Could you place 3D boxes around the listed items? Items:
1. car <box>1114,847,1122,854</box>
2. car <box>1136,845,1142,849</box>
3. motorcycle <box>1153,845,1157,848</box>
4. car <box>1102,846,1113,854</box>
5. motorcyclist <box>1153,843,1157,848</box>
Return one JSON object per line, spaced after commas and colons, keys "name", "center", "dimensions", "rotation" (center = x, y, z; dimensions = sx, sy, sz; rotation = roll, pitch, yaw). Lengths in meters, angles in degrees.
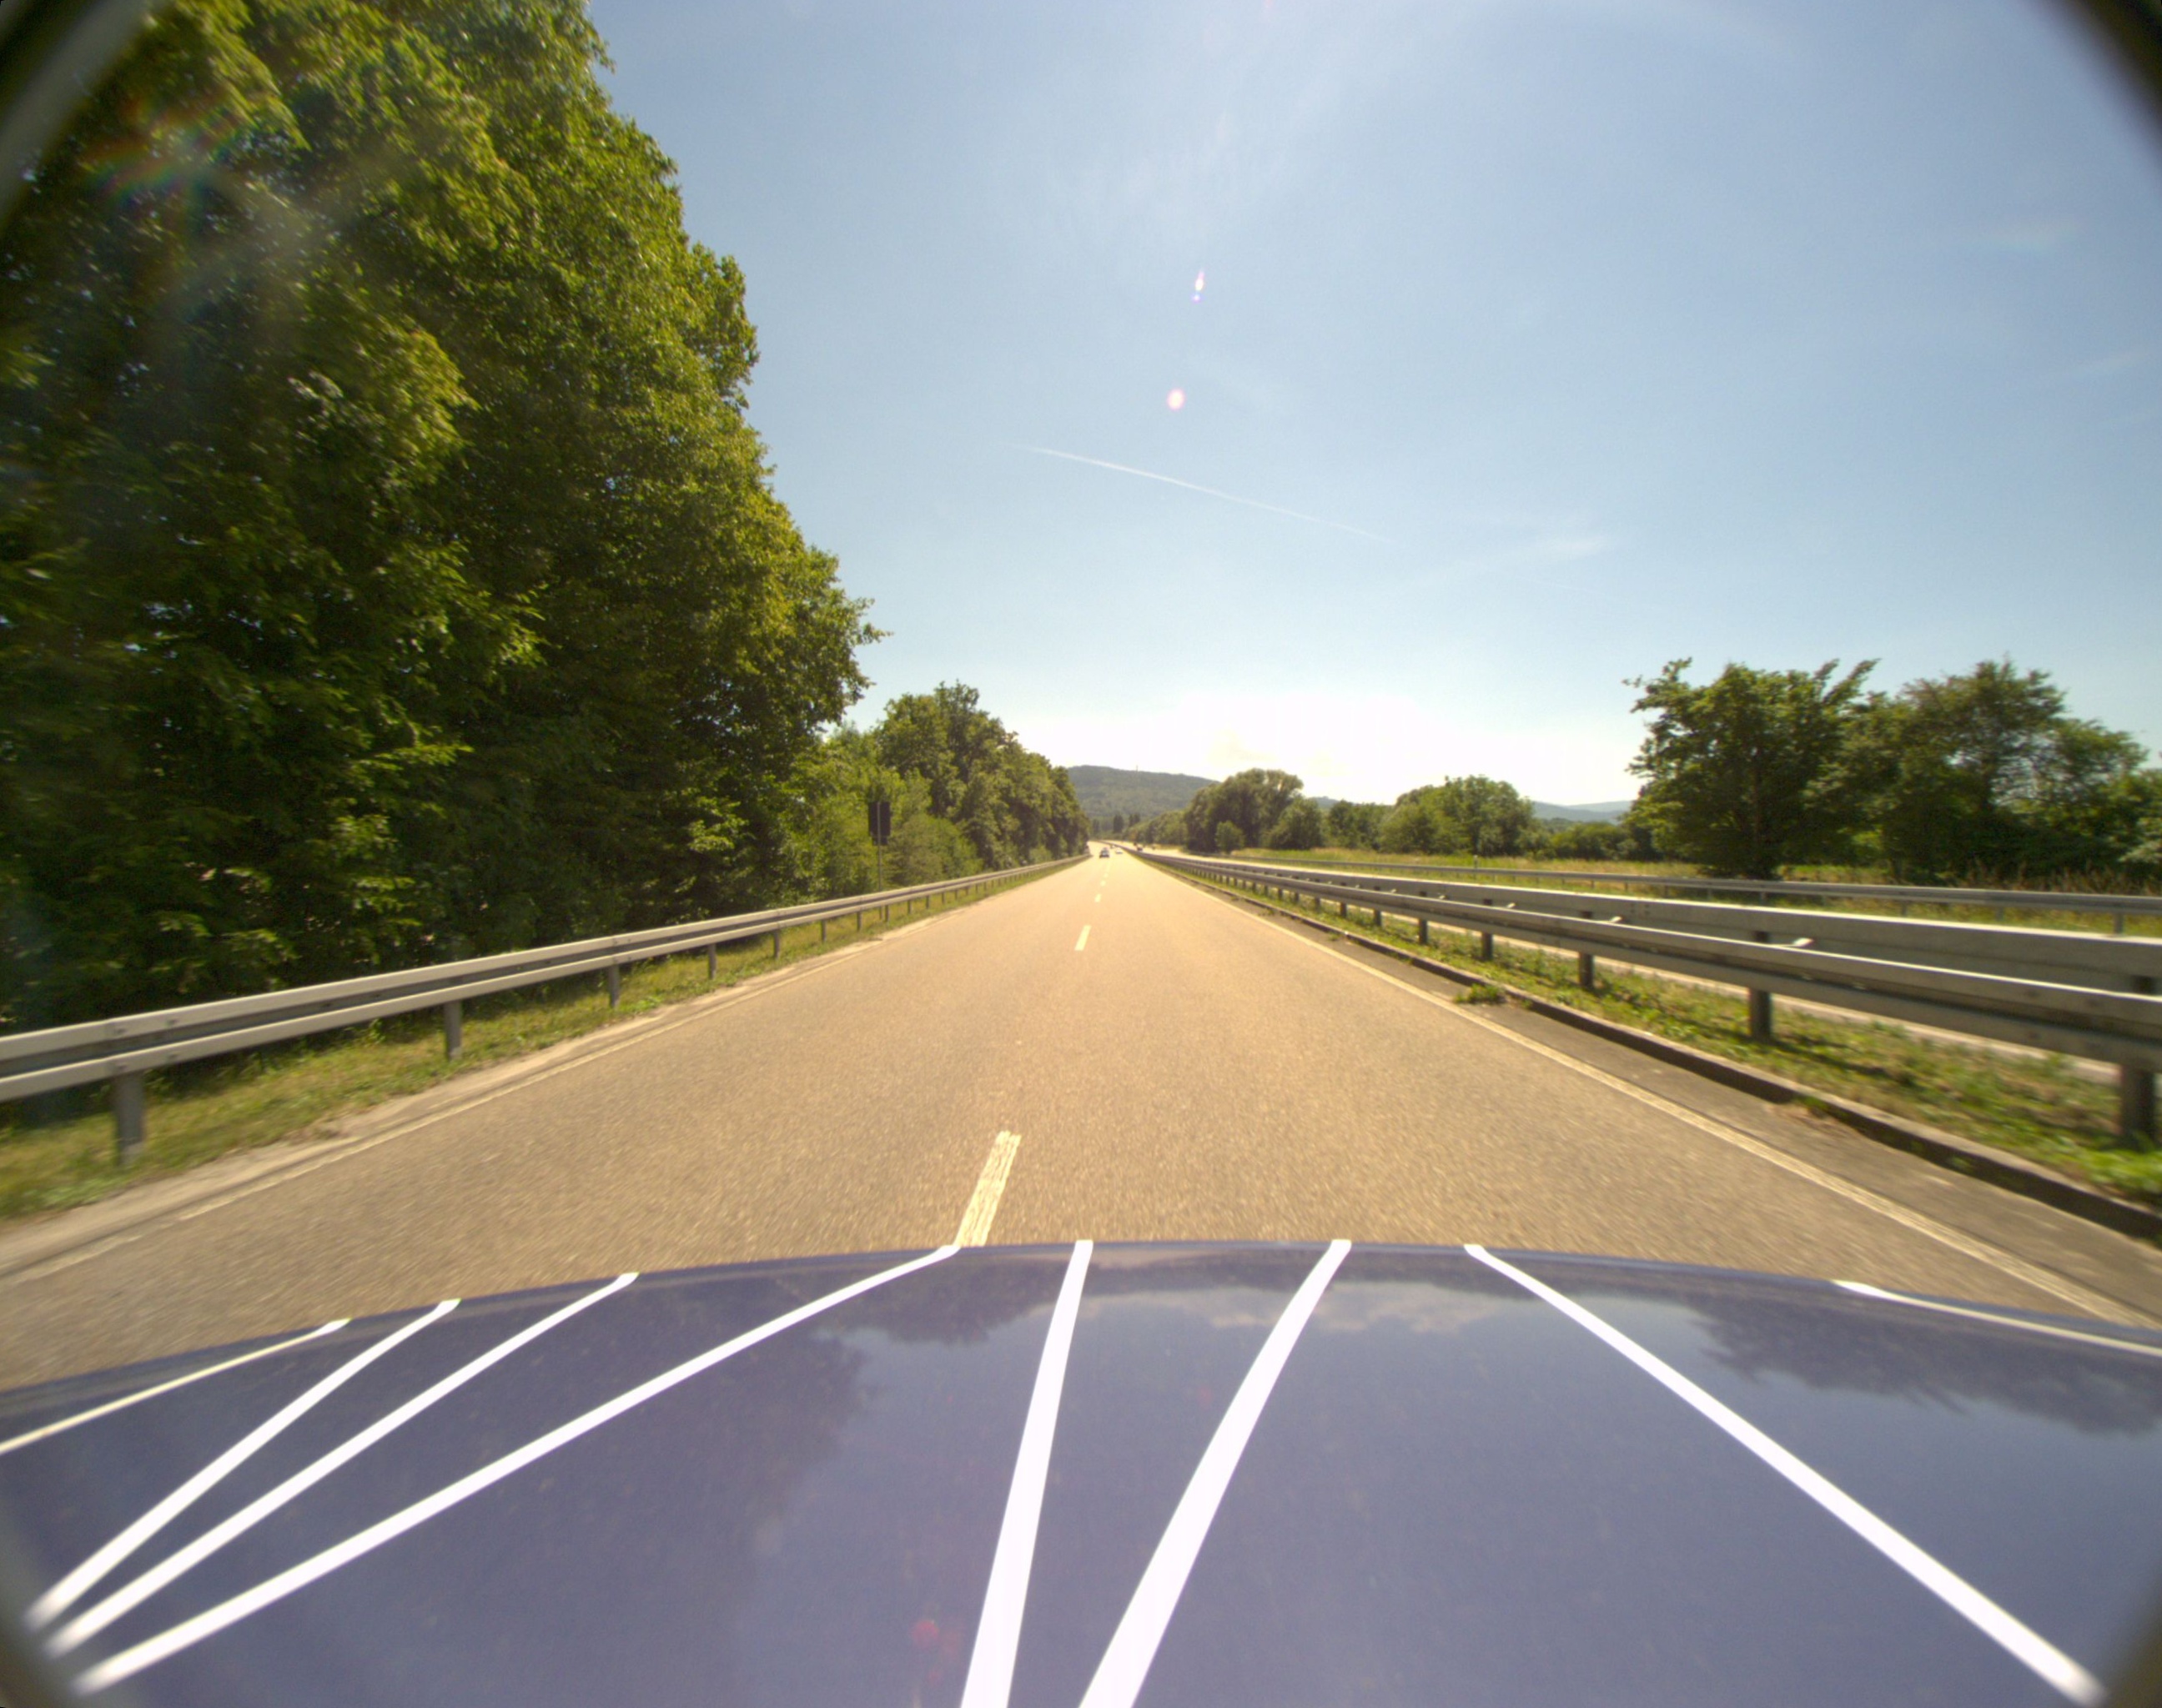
{"name": "car", "center": [9.393, -0.895, 192.284], "dimensions": [1.908, 1.687, 3.891], "rotation": [-2, 2, 5]}
{"name": "car", "center": [17.421, -2.171, 228.791], "dimensions": [1.632, 1.324, 3.535], "rotation": [-1, 1, 2]}
{"name": "motorcycle", "center": [22.839, -2.263, 234.414], "dimensions": [1.066, 1.058, 3.818], "rotation": [0, 1, 3]}
{"name": "car", "center": [5.004, -0.716, 142.102], "dimensions": [1.908, 1.368, 3.891], "rotation": [-2, 2, 5]}
{"name": "motorcyclist", "center": [22.796, -2.543, 234.431], "dimensions": [0.947, 1.608, 0.809], "rotation": [0, 1, 2]}
